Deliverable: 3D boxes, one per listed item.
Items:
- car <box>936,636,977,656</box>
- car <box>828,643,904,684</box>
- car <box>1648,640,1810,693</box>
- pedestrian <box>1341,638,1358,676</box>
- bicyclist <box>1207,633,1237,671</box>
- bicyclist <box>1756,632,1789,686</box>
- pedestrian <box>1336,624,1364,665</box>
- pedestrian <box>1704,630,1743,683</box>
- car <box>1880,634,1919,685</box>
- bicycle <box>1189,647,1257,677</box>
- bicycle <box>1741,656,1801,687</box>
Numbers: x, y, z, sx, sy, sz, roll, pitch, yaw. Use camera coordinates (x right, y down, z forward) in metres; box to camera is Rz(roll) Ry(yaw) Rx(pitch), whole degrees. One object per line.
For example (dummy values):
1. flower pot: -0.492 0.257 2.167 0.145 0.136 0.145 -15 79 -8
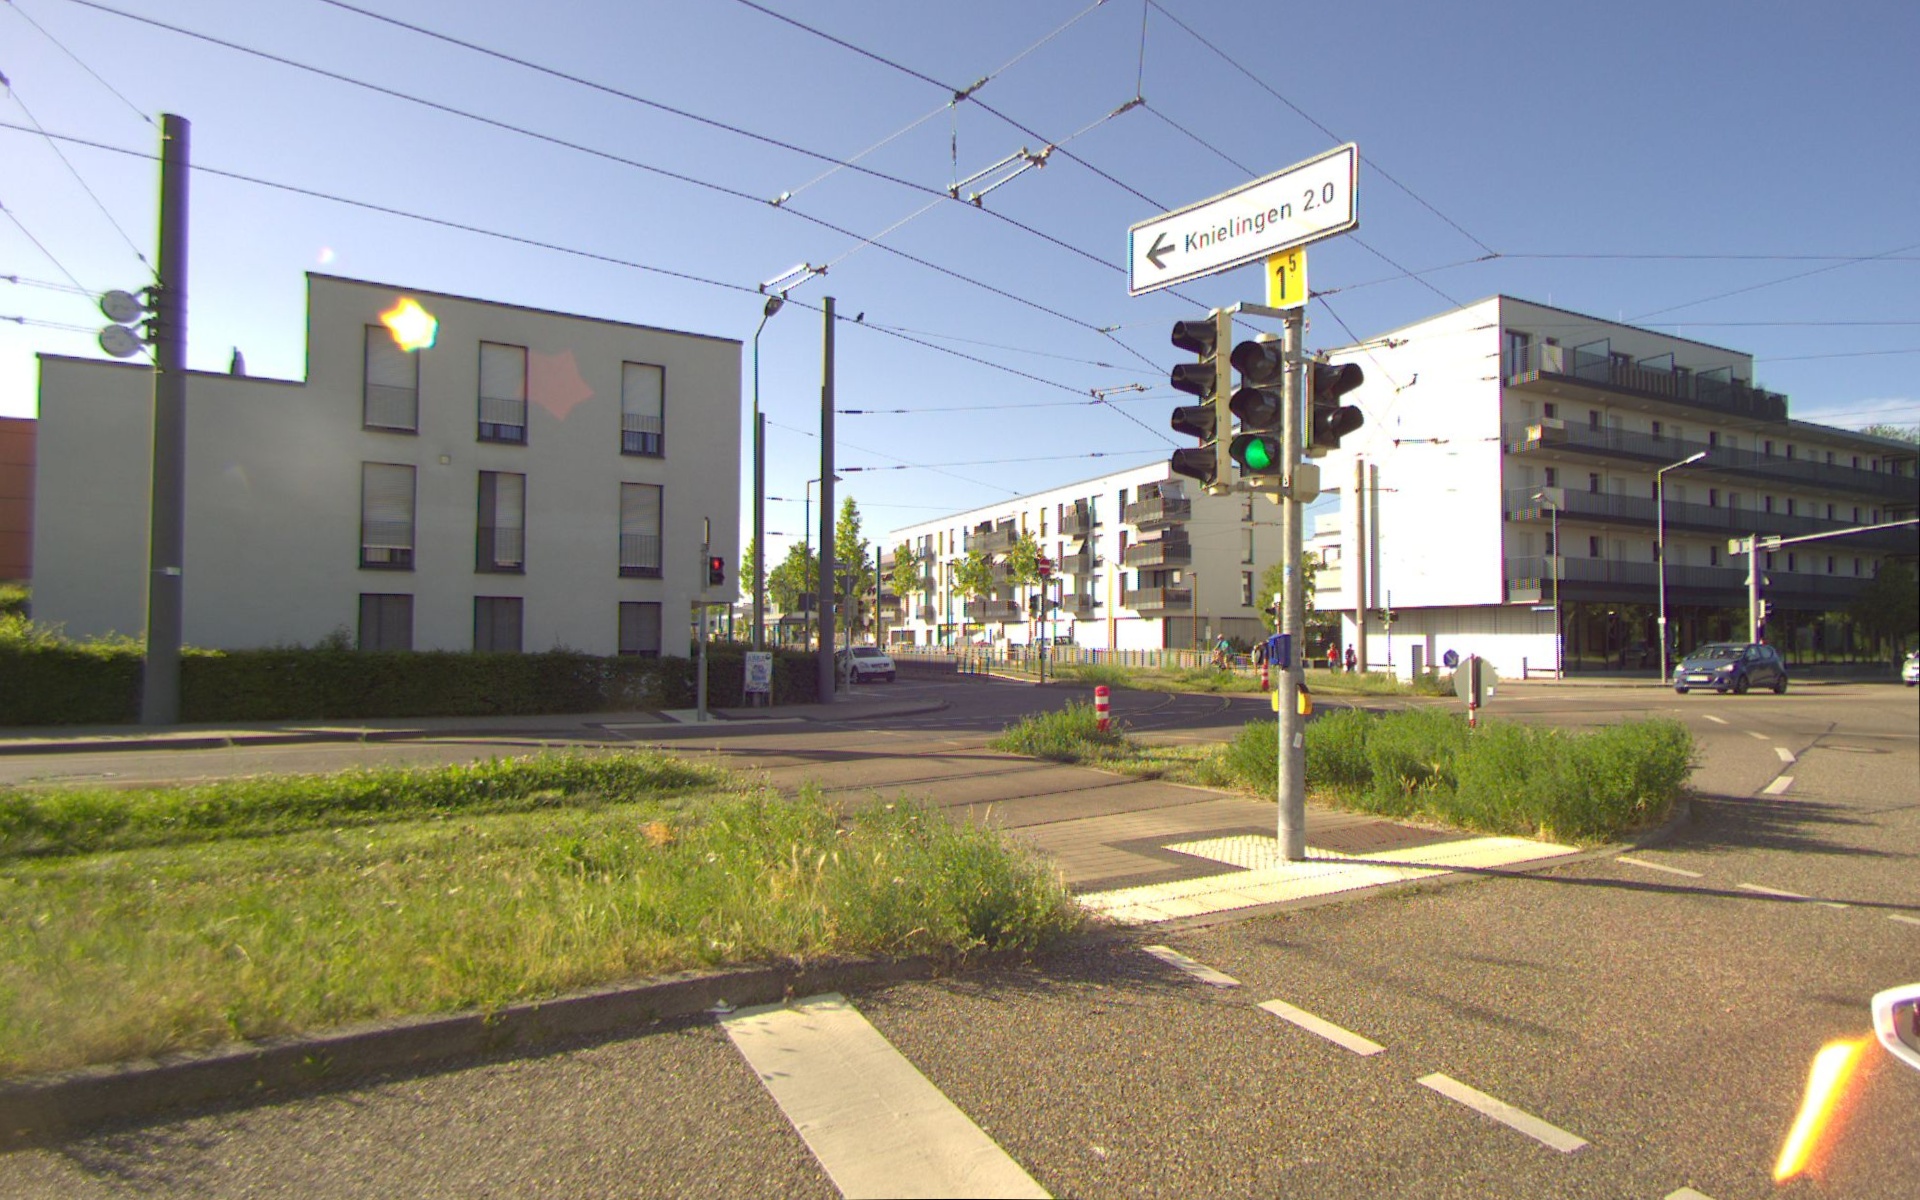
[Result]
1. car: -0.339 3.912 86.003 1.973 1.573 3.975 2 -1 -25
2. car: -4.158 2.750 44.070 1.984 1.687 3.972 1 -3 -28
3. car: 22.493 1.917 29.374 4.386 1.475 1.693 1 -3 -21
4. pedestrian: 16.964 2.477 43.727 0.498 1.644 0.454 2 -1 -30
5. bicyclist: 11.076 2.200 42.448 0.899 1.613 0.891 1 -3 -19
6. bicyclist: 31.149 2.260 38.525 0.804 2.040 0.787 2 -3 -37
7. pedestrian: 16.960 1.921 43.678 0.932 1.755 0.647 1 0 2
8. pedestrian: 29.699 2.189 39.077 0.751 2.040 0.972 2 -3 -30
9. car: 35.057 2.125 35.825 4.307 1.778 1.986 2 -3 -28
10. bicycle: 11.116 2.619 42.449 2.782 1.214 0.900 1 -3 -20
11. bicycle: 31.111 2.724 38.550 0.738 1.159 1.626 2 -3 -37
